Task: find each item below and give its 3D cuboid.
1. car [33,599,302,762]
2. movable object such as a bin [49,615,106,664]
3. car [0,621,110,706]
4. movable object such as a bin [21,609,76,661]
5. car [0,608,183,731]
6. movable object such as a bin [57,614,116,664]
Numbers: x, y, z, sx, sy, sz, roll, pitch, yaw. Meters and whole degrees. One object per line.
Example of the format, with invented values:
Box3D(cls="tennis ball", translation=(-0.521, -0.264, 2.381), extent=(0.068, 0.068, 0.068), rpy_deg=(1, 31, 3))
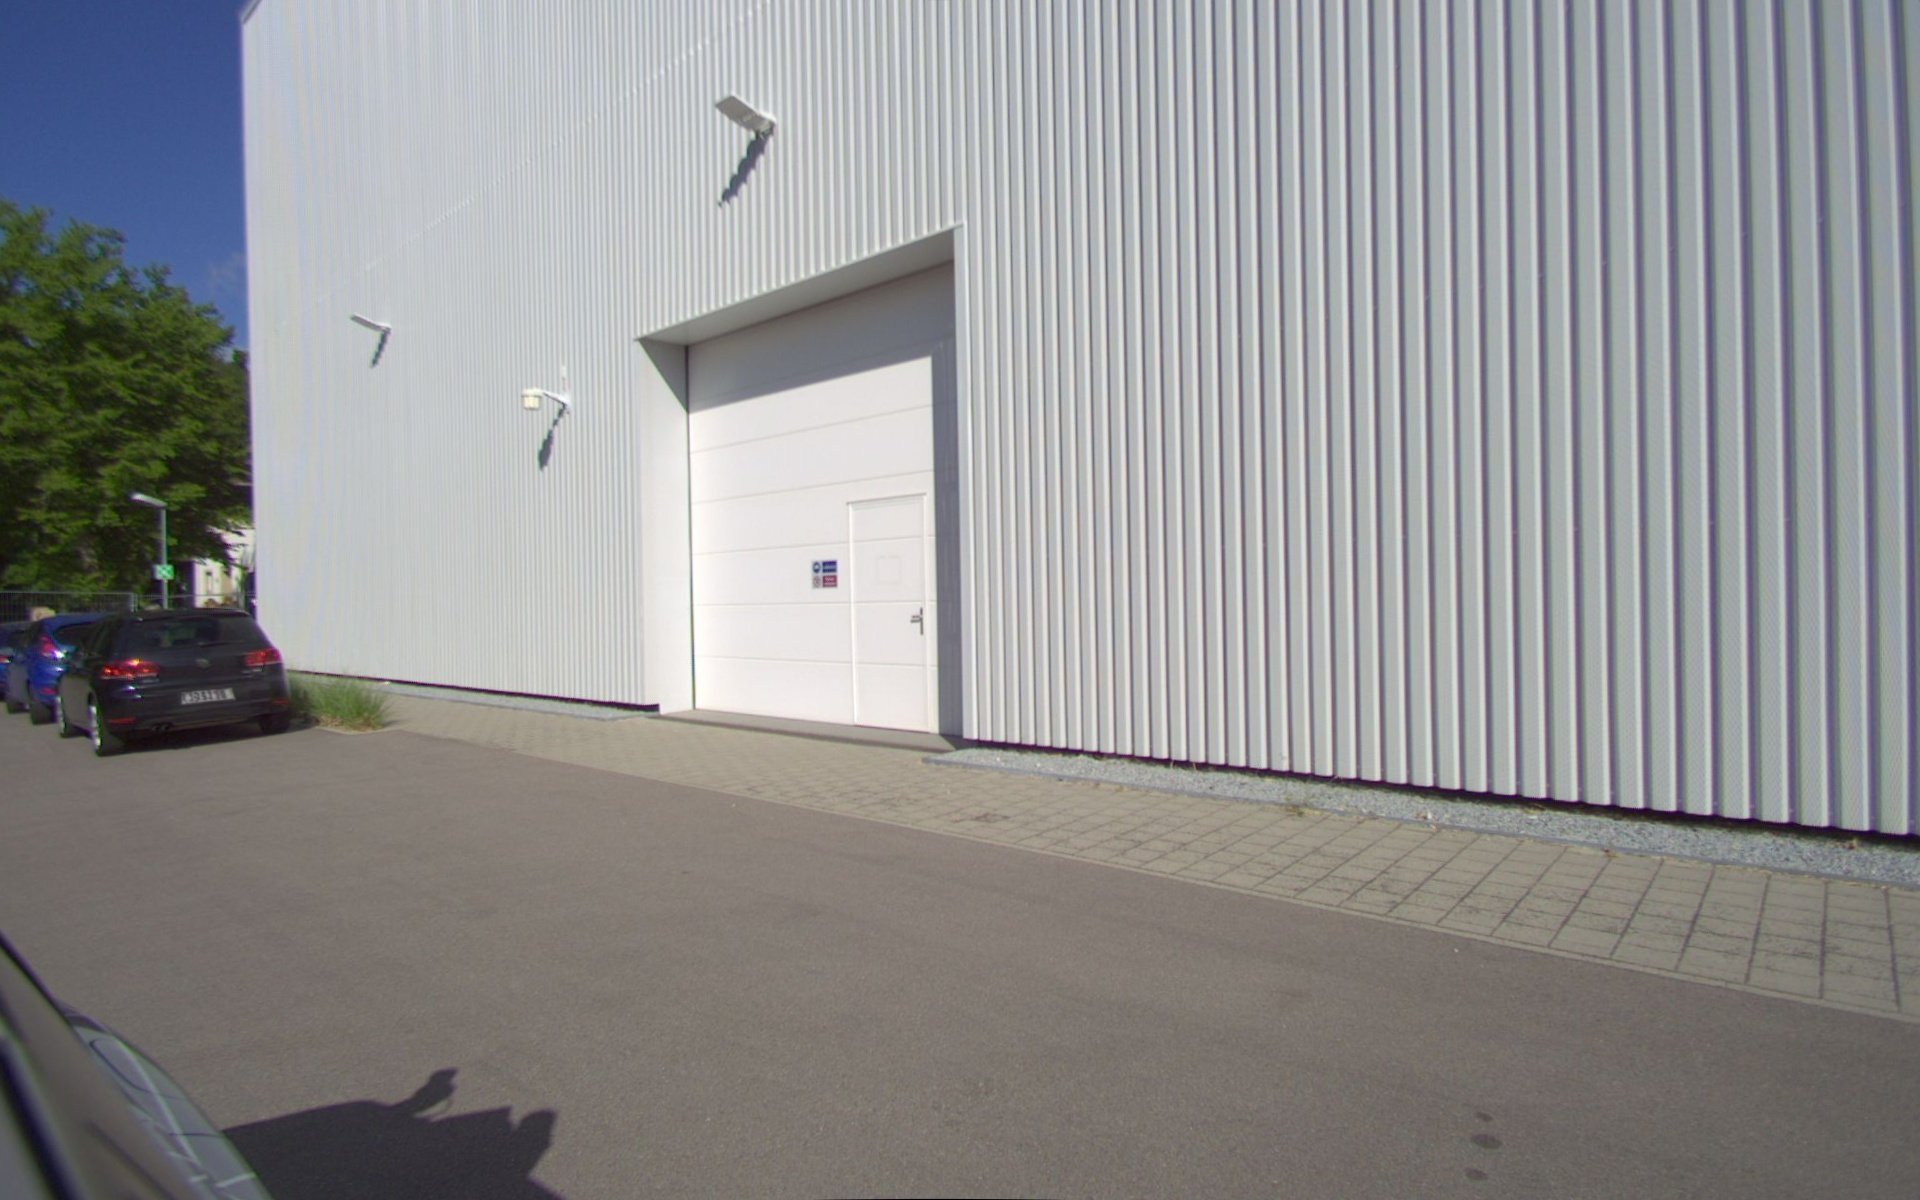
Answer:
Box3D(cls="car", translation=(-9.430, 0.819, 11.908), extent=(4.293, 1.511, 1.736), rpy_deg=(-1, 2, 42))
Box3D(cls="movable object such as a bin", translation=(-27.925, 1.222, 32.024), extent=(1.228, 1.450, 1.080), rpy_deg=(0, 2, 36))
Box3D(cls="car", translation=(-17.270, 1.113, 18.699), extent=(4.051, 1.371, 1.756), rpy_deg=(-1, 1, 41))
Box3D(cls="movable object such as a bin", translation=(-29.653, 1.113, 32.927), extent=(1.228, 1.609, 1.080), rpy_deg=(1, 1, 36))
Box3D(cls="car", translation=(-13.149, 0.944, 15.087), extent=(4.092, 1.511, 1.614), rpy_deg=(-1, 2, 41))
Box3D(cls="movable object such as a bin", translation=(-26.904, 1.183, 31.167), extent=(1.228, 1.443, 1.080), rpy_deg=(0, 2, 36))
